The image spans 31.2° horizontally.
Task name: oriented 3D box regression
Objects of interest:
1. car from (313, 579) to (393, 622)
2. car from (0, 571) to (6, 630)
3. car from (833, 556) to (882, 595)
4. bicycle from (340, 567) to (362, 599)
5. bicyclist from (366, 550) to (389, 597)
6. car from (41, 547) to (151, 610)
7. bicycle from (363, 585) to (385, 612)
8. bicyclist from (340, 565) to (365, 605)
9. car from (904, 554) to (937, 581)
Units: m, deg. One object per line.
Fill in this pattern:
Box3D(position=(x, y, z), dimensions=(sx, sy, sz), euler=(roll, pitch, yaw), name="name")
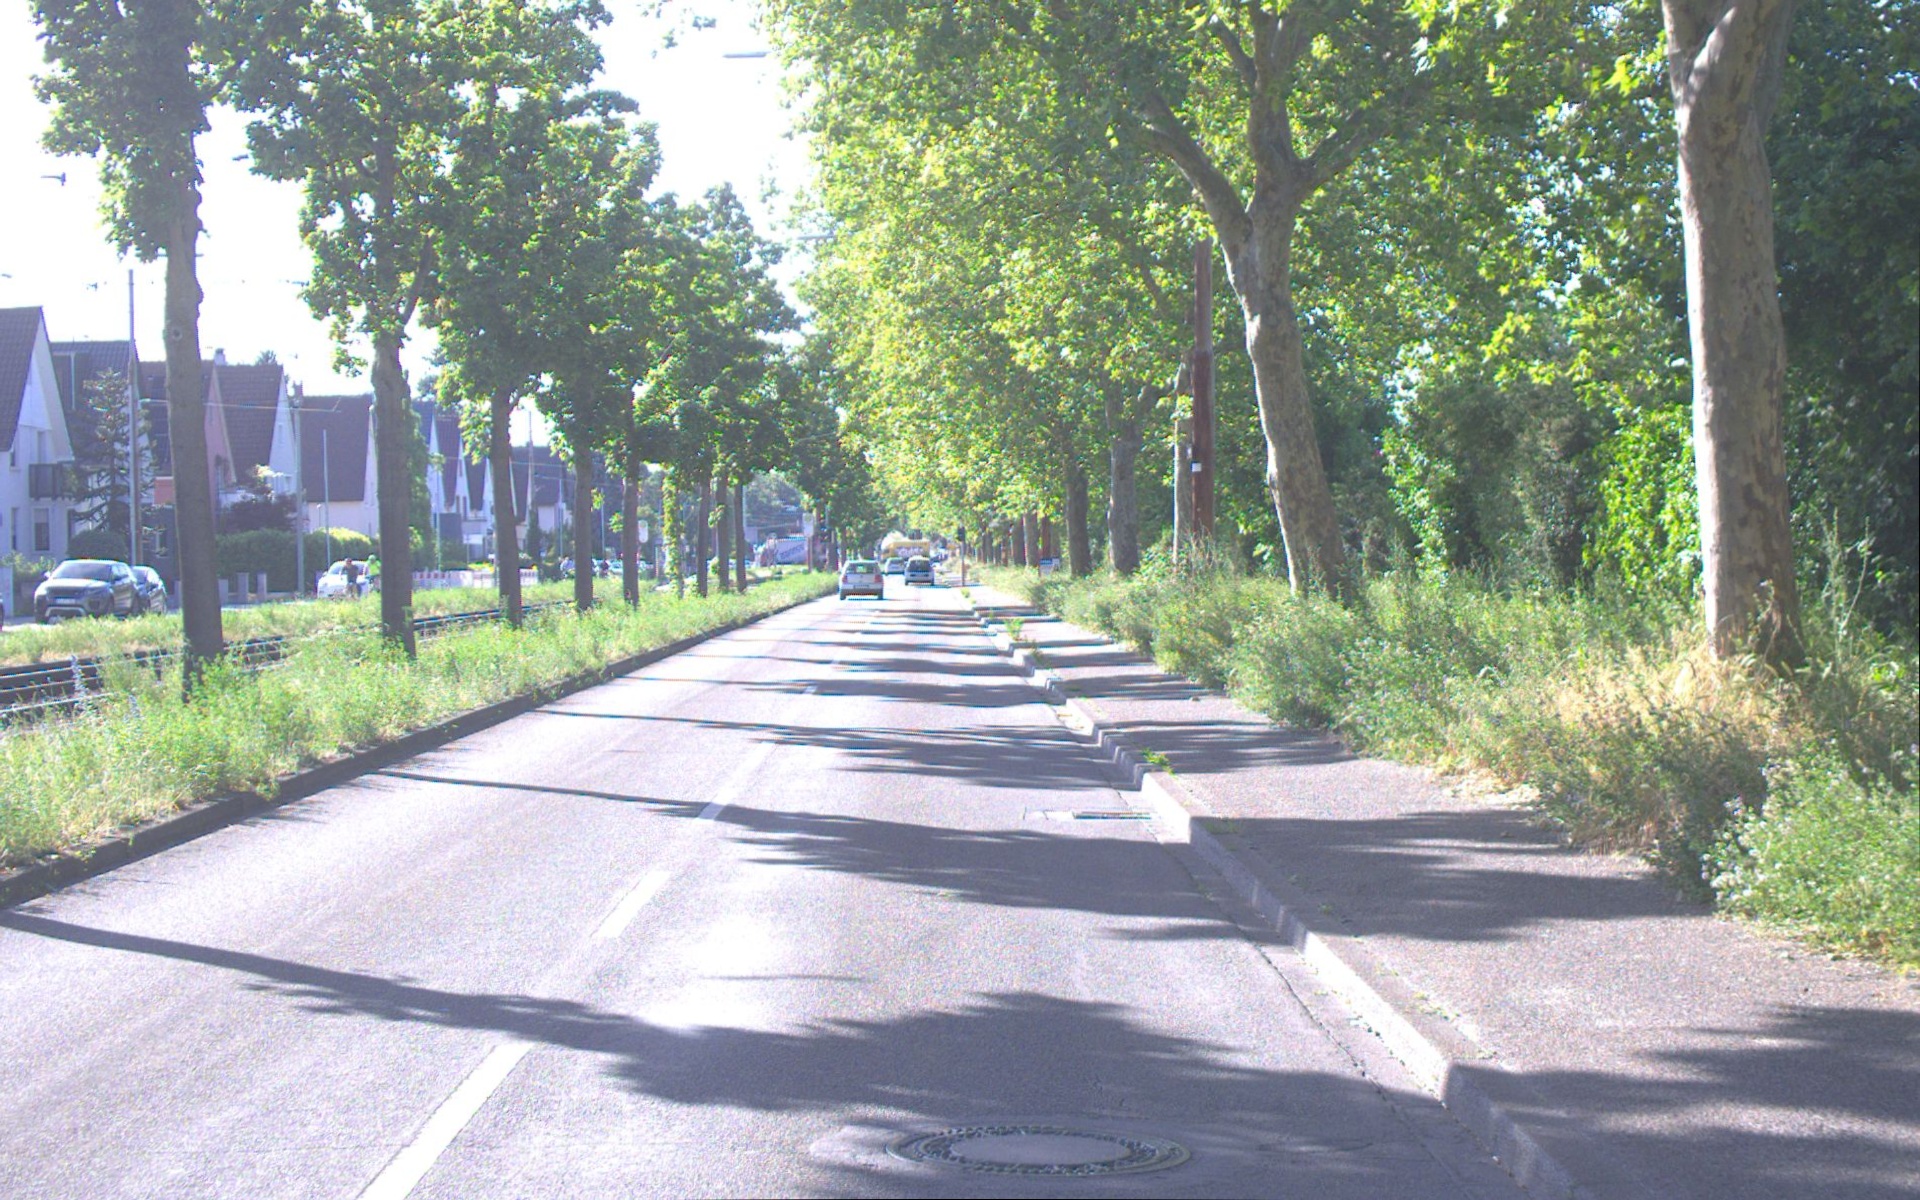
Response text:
Box3D(position=(-23.317, 0.003, 132.184), dimensions=(1.994, 1.593, 4.731), euler=(1, 0, 3), name="car")
Box3D(position=(-22.492, 0.016, 76.249), dimensions=(1.494, 1.321, 4.000), euler=(1, 0, 1), name="car")
Box3D(position=(-3.752, -0.908, 126.616), dimensions=(1.738, 1.396, 3.277), euler=(1, 0, -1), name="car")
Box3D(position=(-20.770, -0.594, 117.237), dimensions=(0.398, 1.066, 1.880), euler=(0, 1, 0), name="bicycle")
Box3D(position=(-20.467, -0.946, 120.782), dimensions=(0.688, 1.646, 0.881), euler=(0, 0, -1), name="bicyclist")
Box3D(position=(-22.255, -0.552, 88.686), dimensions=(1.644, 1.563, 4.386), euler=(1, 0, 1), name="car")
Box3D(position=(-20.556, -0.047, 120.612), dimensions=(0.398, 0.924, 2.096), euler=(0, 1, 0), name="bicycle")
Box3D(position=(-20.700, -0.512, 117.198), dimensions=(0.688, 1.332, 0.881), euler=(0, 1, -1), name="bicyclist")
Box3D(position=(-2.199, -1.816, 192.785), dimensions=(1.761, 1.508, 3.277), euler=(1, 0, 0), name="car")
